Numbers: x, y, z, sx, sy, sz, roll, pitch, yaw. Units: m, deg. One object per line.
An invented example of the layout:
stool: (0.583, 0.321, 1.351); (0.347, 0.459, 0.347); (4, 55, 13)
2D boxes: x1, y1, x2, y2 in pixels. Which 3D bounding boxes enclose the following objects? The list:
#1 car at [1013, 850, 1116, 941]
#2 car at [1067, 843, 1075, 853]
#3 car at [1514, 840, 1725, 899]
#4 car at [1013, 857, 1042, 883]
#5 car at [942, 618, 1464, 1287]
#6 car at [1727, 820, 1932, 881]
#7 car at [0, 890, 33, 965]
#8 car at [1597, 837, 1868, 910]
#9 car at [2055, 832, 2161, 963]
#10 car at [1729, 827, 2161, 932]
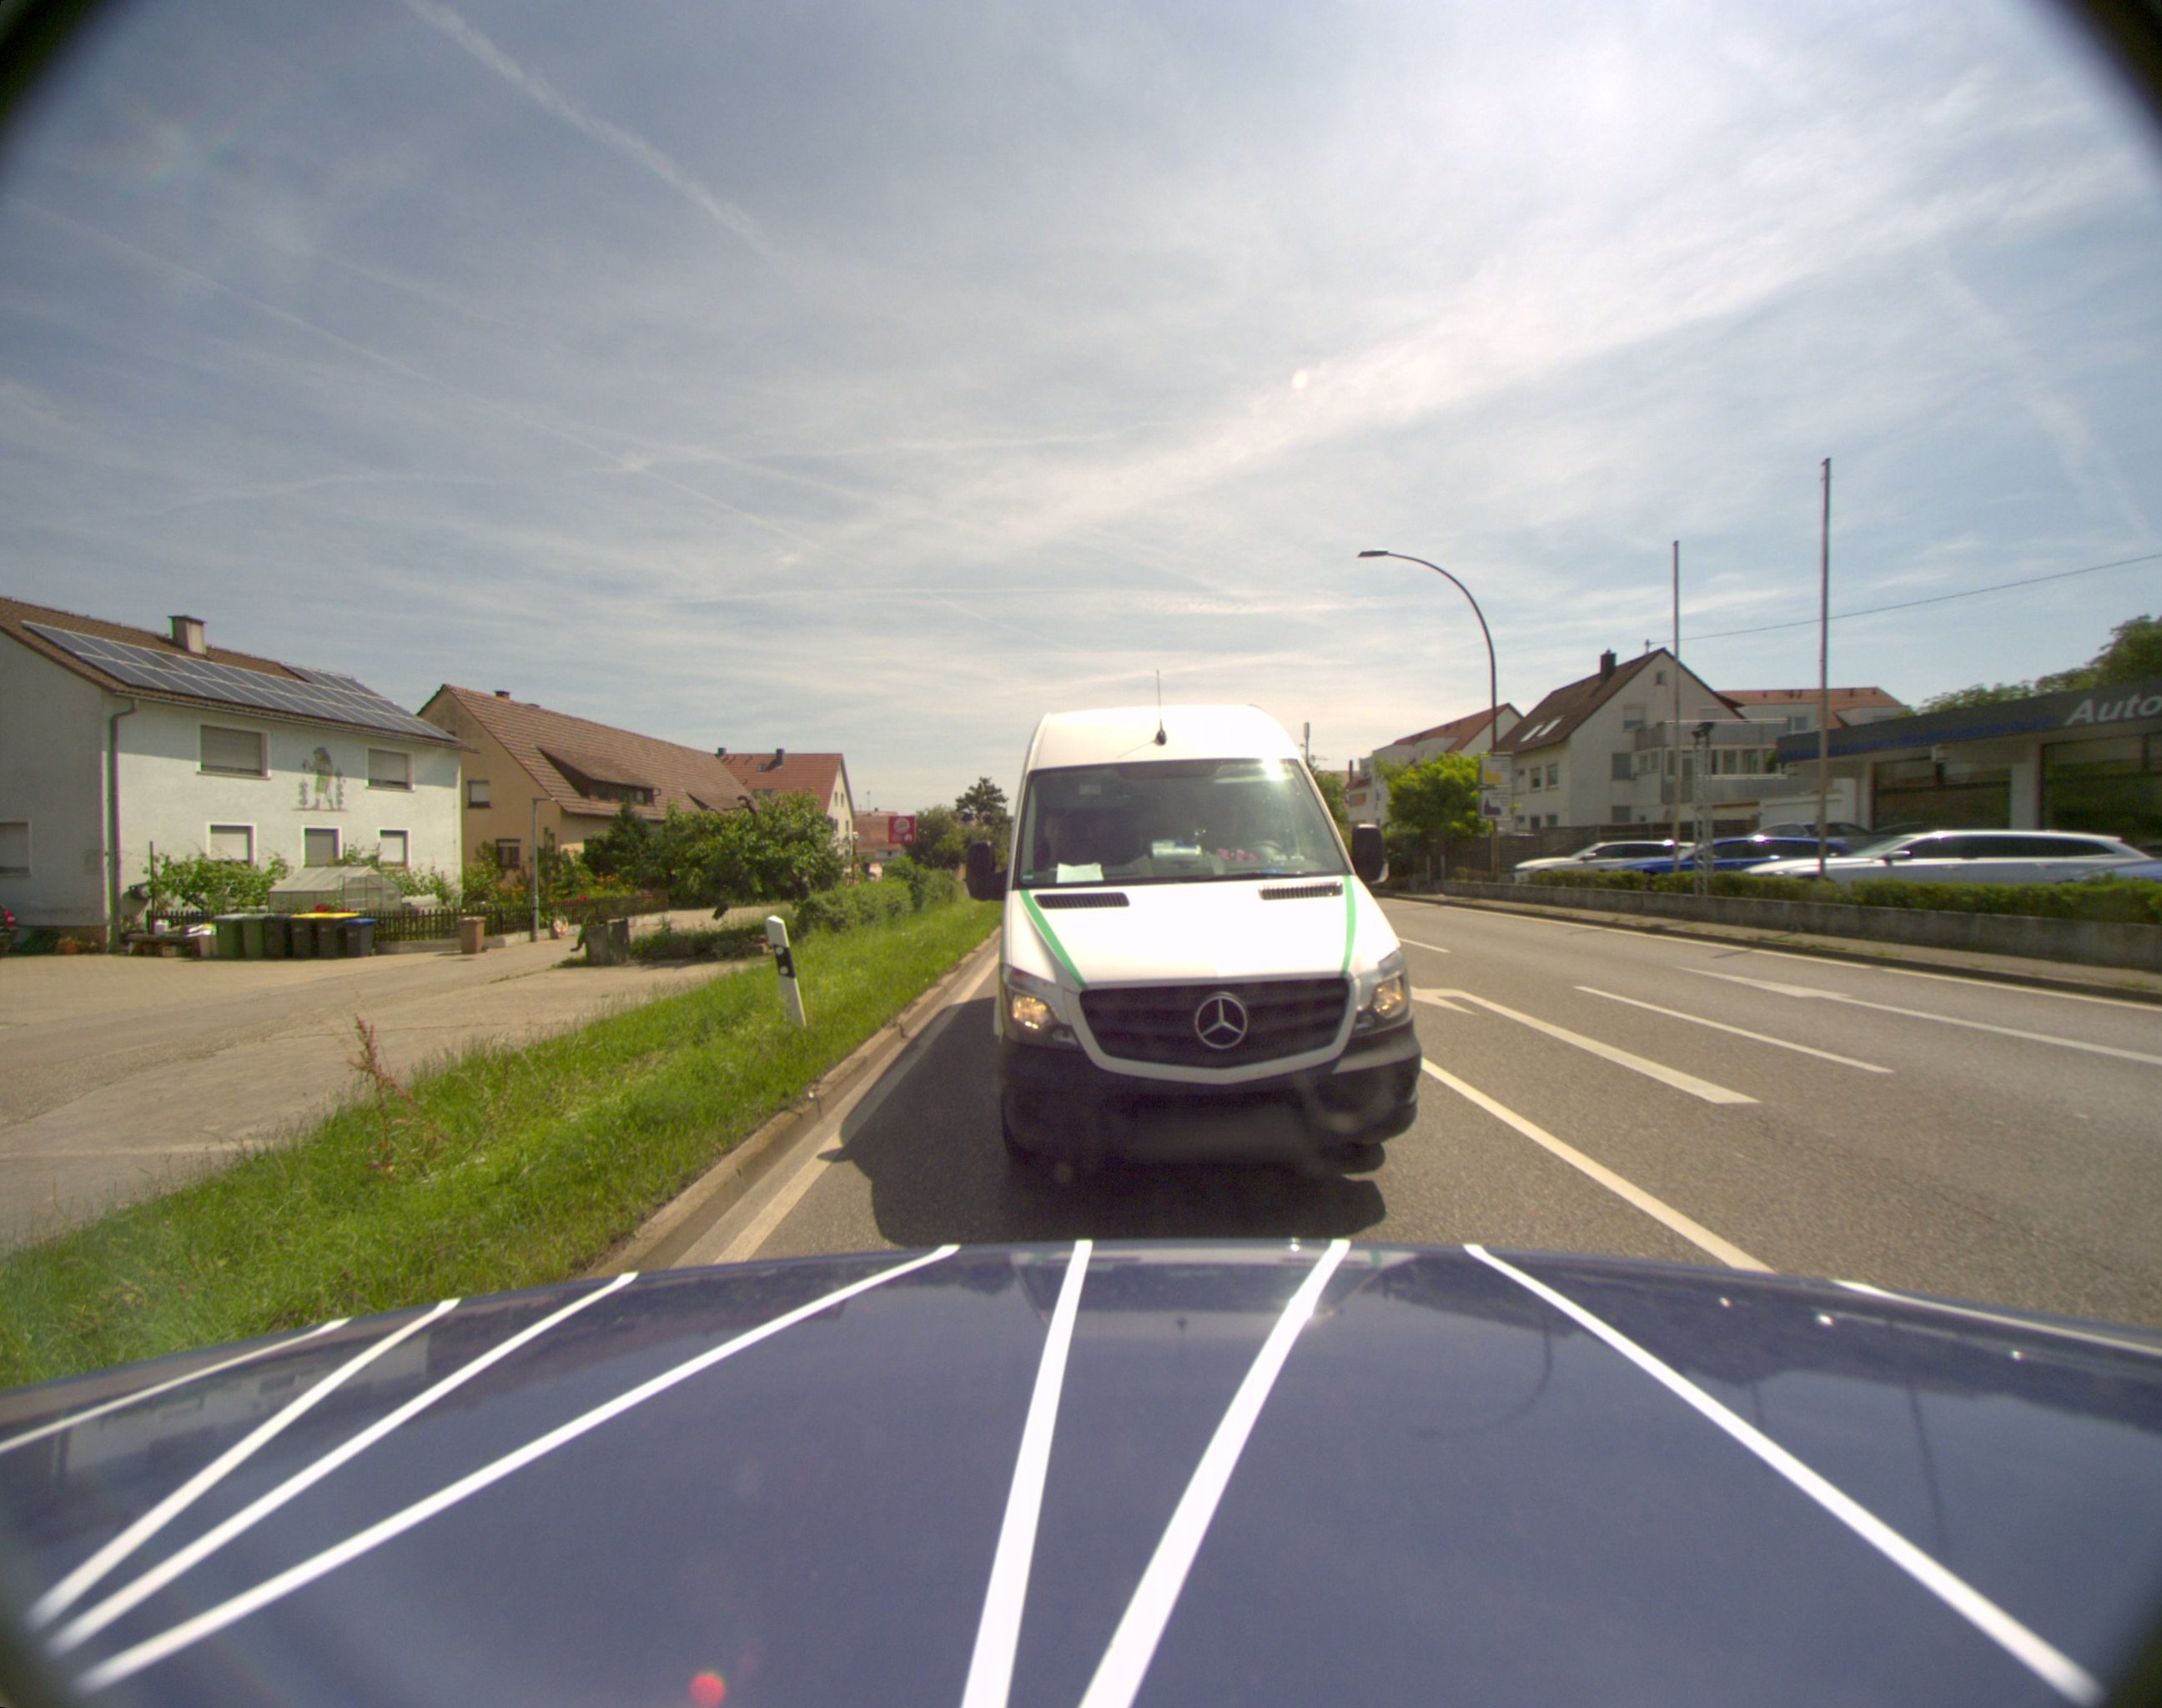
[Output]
car: (-0.319, 0.795, 16.872); (1.884, 1.652, 4.625); (-3, 0, 0)
car: (-2.701, -1.543, 203.052); (1.998, 2.573, 3.999); (-2, 1, 0)
car: (14.608, 0.430, 20.996); (4.568, 1.439, 1.860); (-2, 1, 29)
car: (-3.504, 1.008, 50.054); (1.636, 1.476, 3.551); (-4, 1, -1)
car: (0.471, 0.375, 5.789); (1.939, 2.514, 5.748); (-2, 0, 0)
car: (20.803, -0.098, 21.441); (1.807, 1.456, 4.585); (-2, 0, 10)
car: (-26.862, 1.731, 17.152); (3.957, 1.683, 1.844); (0, 1, 3)
car: (14.349, 0.437, 17.111); (4.331, 1.439, 1.860); (-2, 1, 29)
car: (14.538, 0.434, 8.355); (4.331, 1.439, 1.860); (-2, 1, 31)
car: (14.119, 0.451, 12.829); (4.505, 1.439, 1.860); (-4, 0, 30)
